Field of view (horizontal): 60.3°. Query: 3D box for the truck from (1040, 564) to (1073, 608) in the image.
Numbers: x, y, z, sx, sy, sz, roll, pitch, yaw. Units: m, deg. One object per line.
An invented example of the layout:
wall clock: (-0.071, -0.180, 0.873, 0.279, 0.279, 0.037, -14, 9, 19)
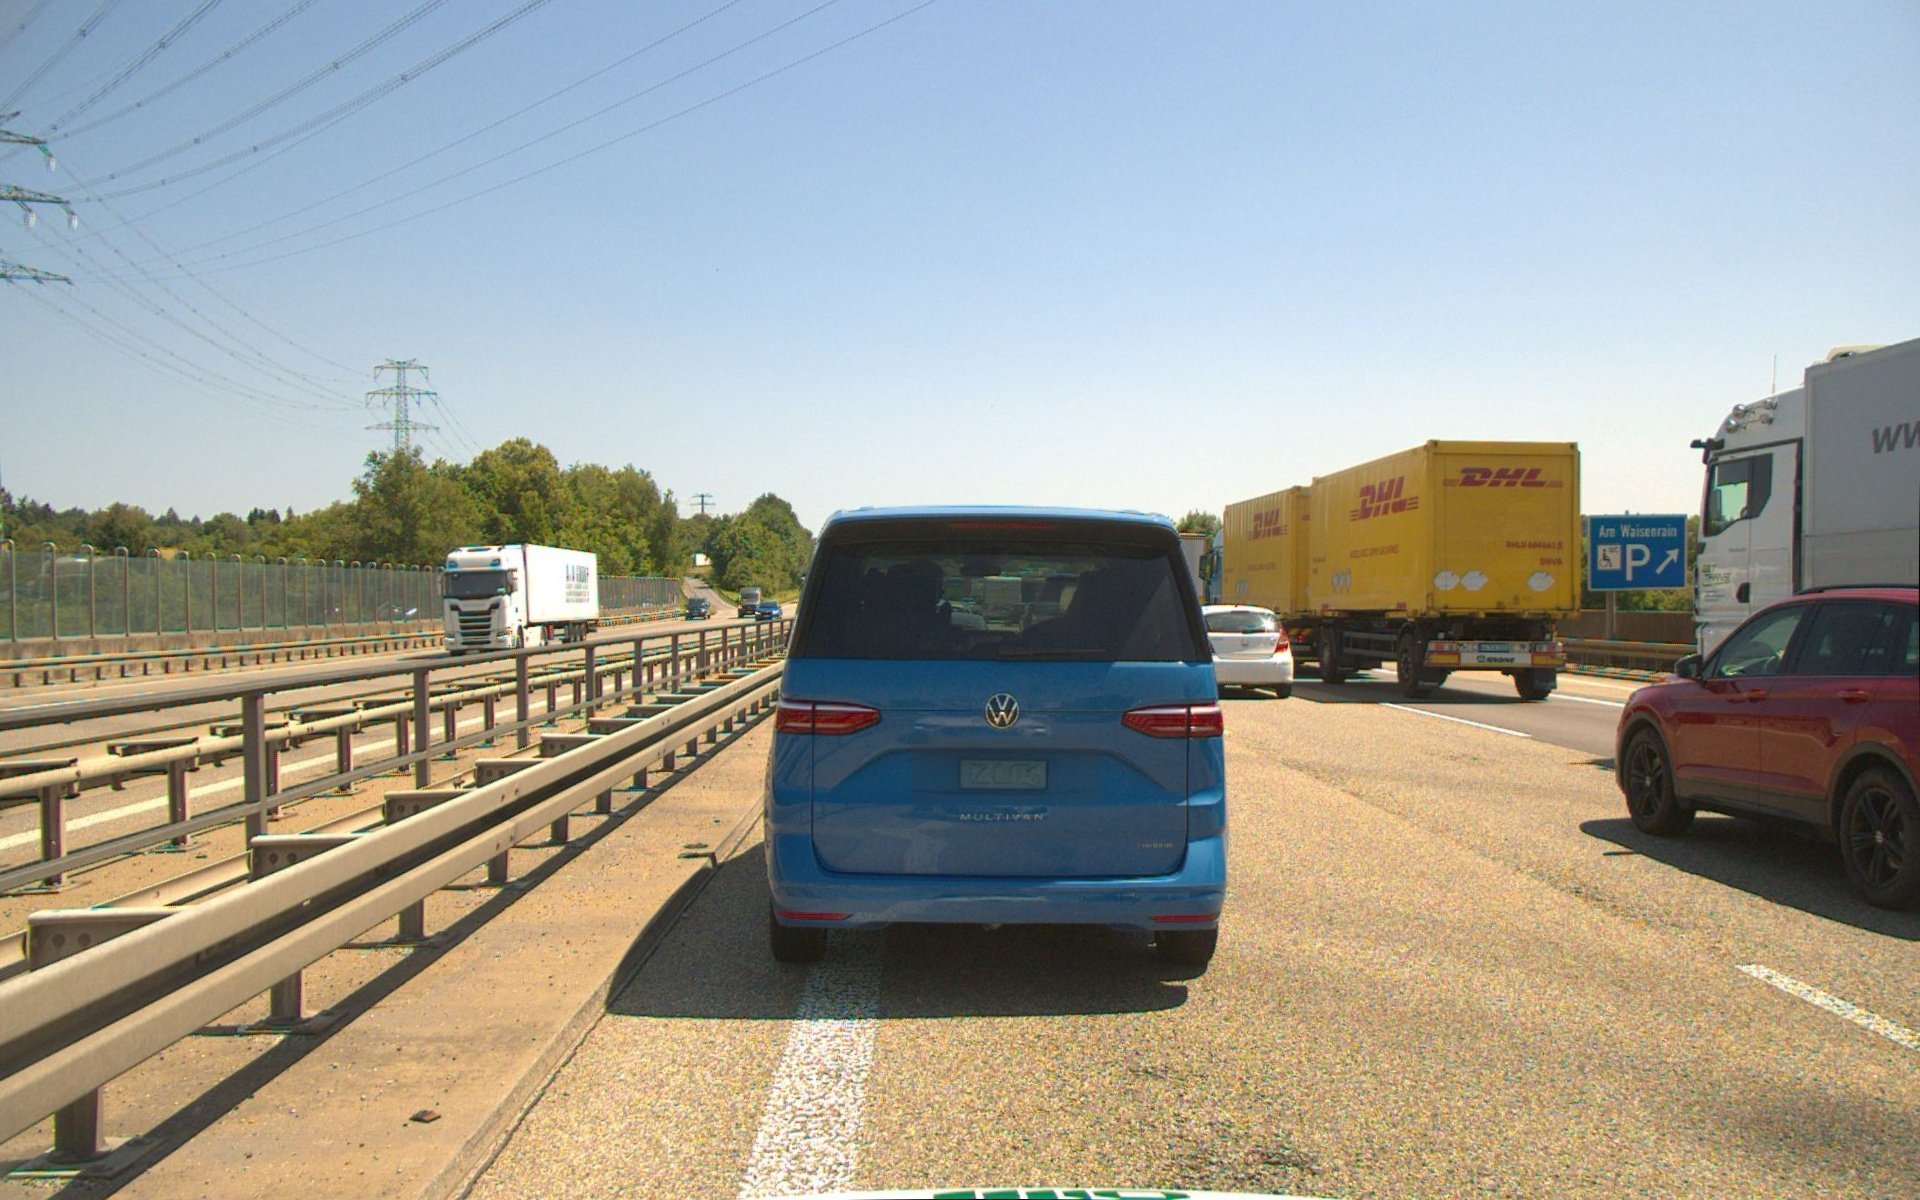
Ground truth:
truck: (5.886, -0.818, 101.546, 1.706, 2.593, 4.209, 1, -1, -1)

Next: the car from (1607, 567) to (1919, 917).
car: (5.480, 0.709, 9.599, 1.674, 1.708, 4.283, 0, -1, -2)

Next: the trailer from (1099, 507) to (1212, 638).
trailer: (7.527, -0.939, 65.207, 2.965, 4.692, 10.922, 1, -1, -1)

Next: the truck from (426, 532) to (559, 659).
truck: (-17.442, -0.131, 62.207, 2.869, 4.368, 6.857, -3, -1, 0)

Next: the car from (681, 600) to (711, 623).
car: (-23.304, 1.029, 146.158, 1.918, 1.939, 4.948, -2, -1, -2)

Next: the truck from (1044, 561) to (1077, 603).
truck: (6.476, -1.133, 106.971, 1.760, 2.641, 4.304, 1, -1, -1)

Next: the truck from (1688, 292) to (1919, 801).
truck: (8.968, -0.419, 11.615, 2.794, 4.003, 10.606, 1, -1, -1)

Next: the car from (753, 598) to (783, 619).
car: (-14.457, 0.655, 124.577, 1.736, 1.518, 4.604, -1, 0, -1)

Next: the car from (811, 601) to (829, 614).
car: (-18.338, 1.028, 216.932, 1.953, 1.571, 4.385, -2, 0, -1)

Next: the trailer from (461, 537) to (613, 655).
trailer: (-17.489, -0.094, 69.593, 2.847, 4.382, 13.659, -2, -1, 0)

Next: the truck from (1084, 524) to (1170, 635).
truck: (7.432, -0.835, 74.635, 2.965, 4.692, 7.919, 1, -1, -1)

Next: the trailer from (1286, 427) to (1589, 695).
trailer: (8.416, -0.570, 30.548, 2.629, 4.159, 8.976, 1, -1, -2)

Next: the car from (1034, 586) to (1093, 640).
car: (3.961, 0.507, 63.686, 1.922, 1.970, 3.931, 1, -1, -1)

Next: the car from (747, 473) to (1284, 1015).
car: (0.167, 0.537, 7.910, 1.891, 1.906, 3.999, 1, -1, -1)

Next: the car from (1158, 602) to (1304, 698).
car: (4.539, 0.812, 28.240, 1.778, 1.496, 3.931, 1, -1, -1)

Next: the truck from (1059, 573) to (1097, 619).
truck: (6.619, -0.204, 93.143, 1.761, 2.492, 4.503, 1, -1, -1)

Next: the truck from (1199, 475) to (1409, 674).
truck: (8.037, -0.495, 40.072, 2.645, 4.159, 9.935, 1, -1, -2)

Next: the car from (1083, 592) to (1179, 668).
car: (4.037, 0.704, 39.562, 1.778, 1.708, 3.931, 1, -1, -1)

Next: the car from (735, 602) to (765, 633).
car: (-18.380, 1.540, 144.884, 1.953, 2.627, 6.647, -2, -1, -2)
